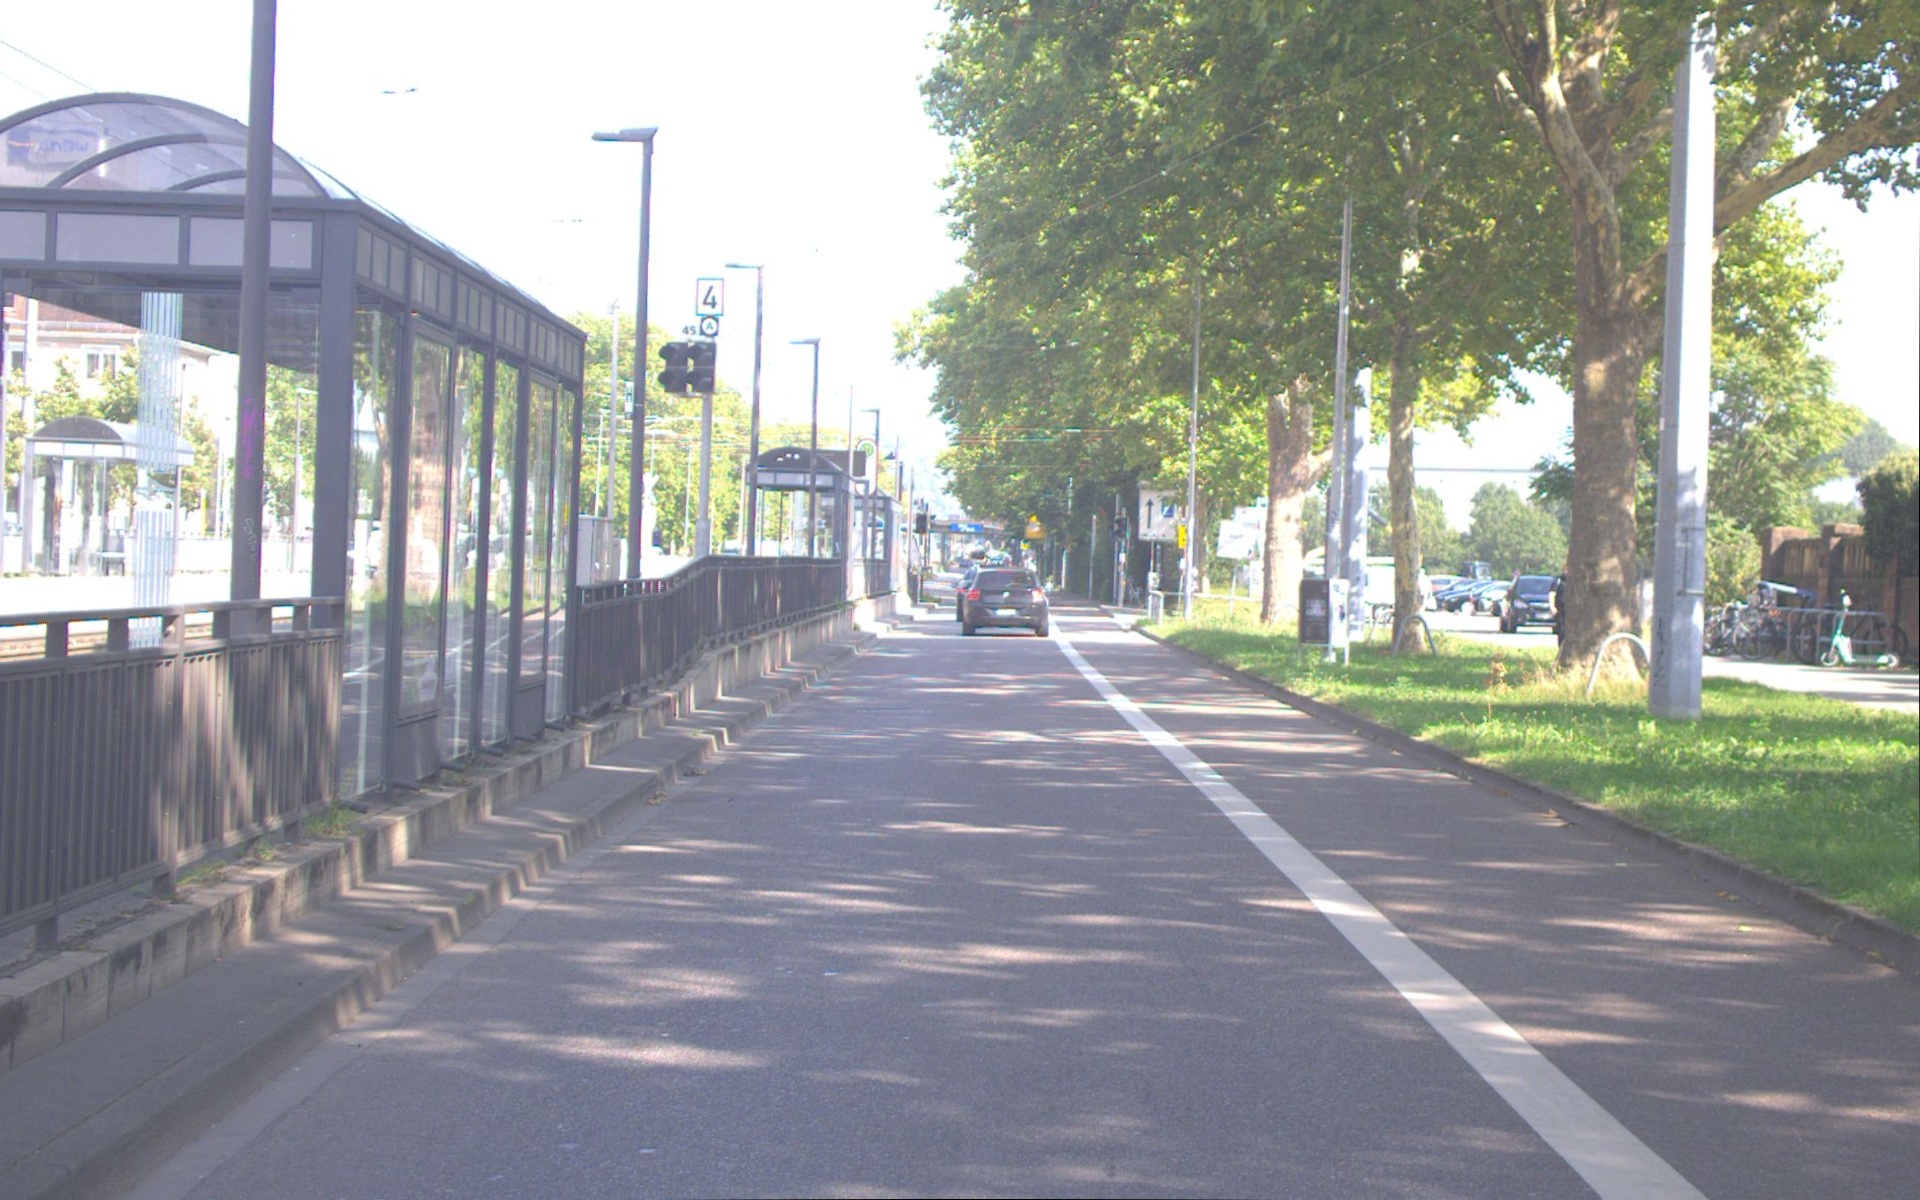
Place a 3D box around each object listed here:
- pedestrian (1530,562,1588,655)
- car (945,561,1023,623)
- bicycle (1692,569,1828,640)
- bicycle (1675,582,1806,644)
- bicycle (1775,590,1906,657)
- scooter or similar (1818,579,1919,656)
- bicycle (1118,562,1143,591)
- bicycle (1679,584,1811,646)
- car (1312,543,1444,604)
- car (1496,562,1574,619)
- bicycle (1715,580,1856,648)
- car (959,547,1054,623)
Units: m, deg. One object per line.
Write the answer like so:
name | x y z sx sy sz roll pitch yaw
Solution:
pedestrian | 9.944 0.132 57.105 0.783 1.510 0.787 2 1 0
car | 0.616 -0.229 90.769 1.973 1.532 4.000 -1 1 0
bicycle | 14.567 0.080 62.624 2.244 1.272 0.999 0 0 0
bicycle | 13.865 0.234 61.131 2.174 1.073 0.743 0 0 4
bicycle | 14.046 0.374 54.857 1.867 1.003 0.735 2 1 -1
scooter or similar | 14.237 0.270 53.798 1.506 1.187 0.538 0 0 5
bicycle | 6.248 -0.866 126.190 0.610 1.018 2.403 2 1 -4
bicycle | 13.766 0.258 60.322 2.174 1.073 0.743 0 0 4
car | 13.429 -0.863 110.595 4.104 1.912 1.847 0 1 4
car | 16.441 -0.284 98.421 1.607 1.570 3.796 1 1 1
bicycle | 13.948 0.238 58.109 2.173 1.073 0.743 2 1 -1
car | 0.941 -0.332 71.542 1.907 1.532 4.000 0 1 0
